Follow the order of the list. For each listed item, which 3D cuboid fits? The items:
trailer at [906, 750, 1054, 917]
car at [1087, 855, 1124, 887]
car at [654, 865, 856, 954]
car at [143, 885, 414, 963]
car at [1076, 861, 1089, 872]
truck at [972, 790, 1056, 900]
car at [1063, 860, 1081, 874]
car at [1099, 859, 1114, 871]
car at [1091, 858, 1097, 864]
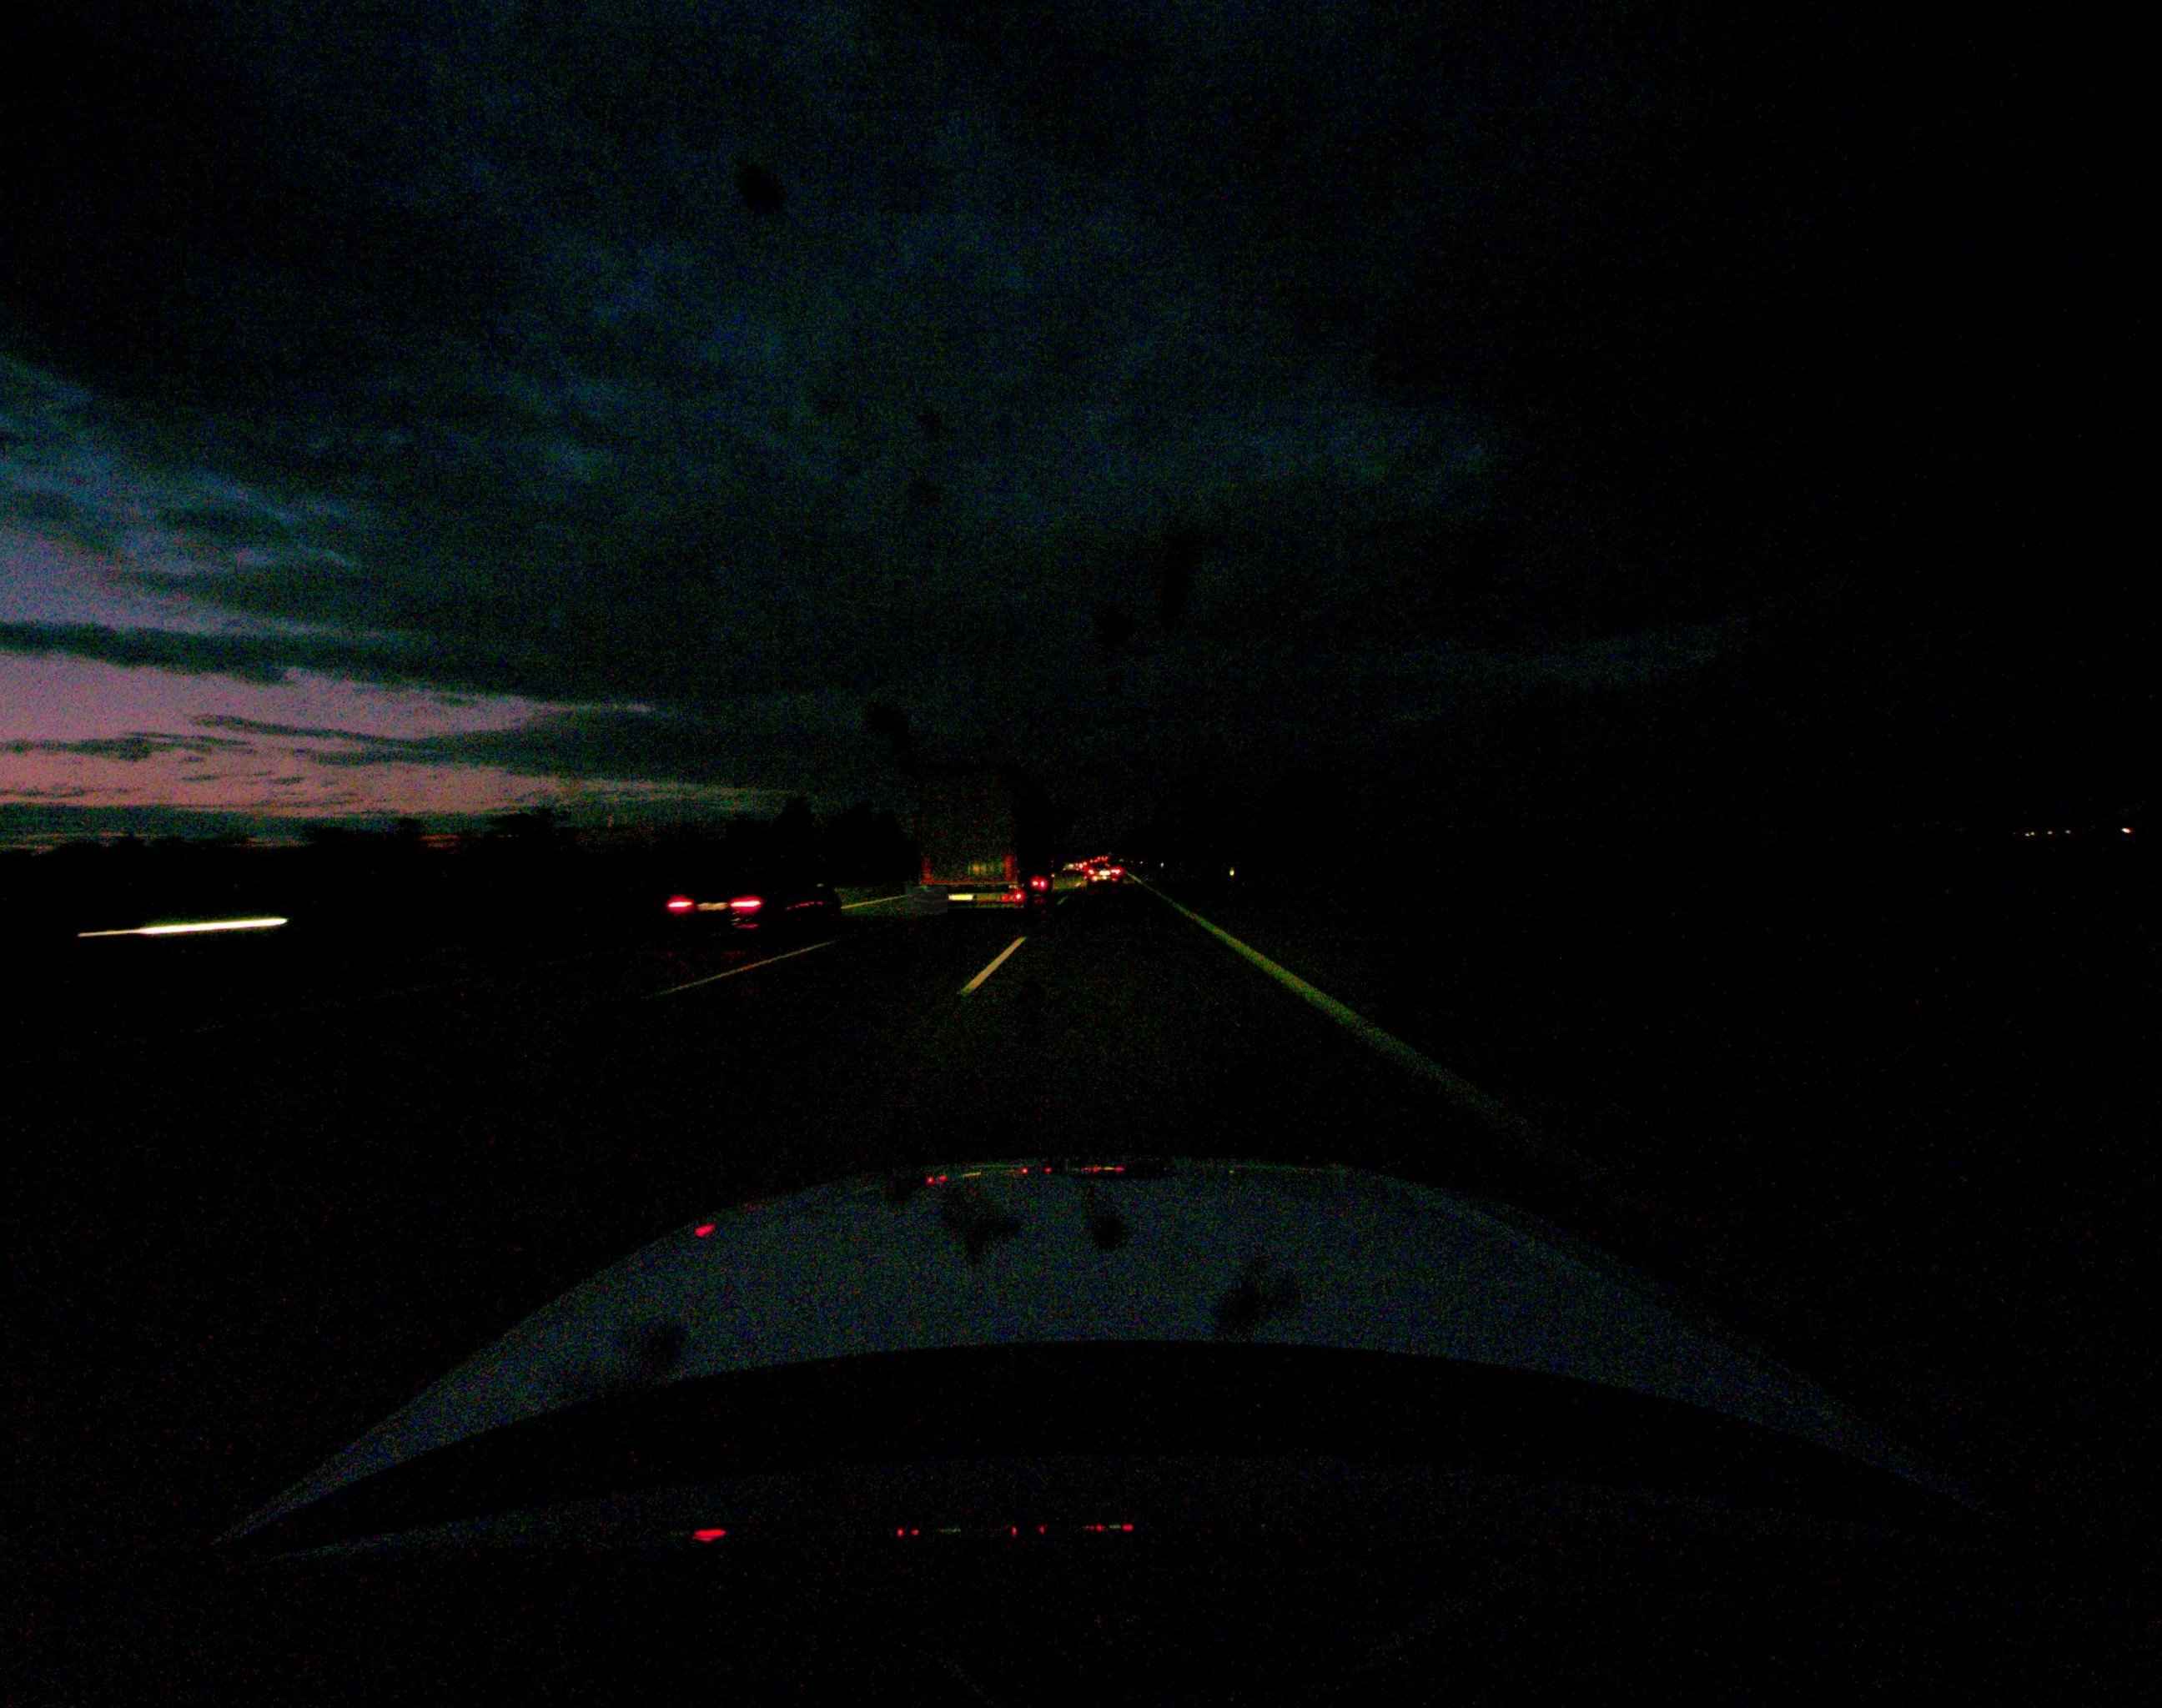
[{"bbox_3d":[-2.739,-0.396,27.459,2.784,4.085,14.528,-1,-1,1],"label":"trailer"},{"bbox_3d":[1.300,0.900,43.353,1.873,1.643,4.001,0,-1,2],"label":"car"},{"bbox_3d":[-6.298,0.984,16.582,1.807,1.437,5.396,0,0,1],"label":"car"},{"bbox_3d":[-18.338,1.528,18.991,1.737,1.499,4.522,0,-1,2],"label":"car"},{"bbox_3d":[0.221,1.660,111.947,1.716,1.471,4.727,0,-1,1],"label":"car"},{"bbox_3d":[-2.614,-0.288,33.797,2.768,4.093,6.104,-1,-1,1],"label":"truck"},{"bbox_3d":[-1.007,1.450,89.170,1.737,1.525,4.416,0,-1,2],"label":"car"},{"bbox_3d":[3.341,1.435,107.906,1.873,1.552,4.001,0,-1,1],"label":"car"},{"bbox_3d":[3.726,2.083,233.767,1.873,1.552,4.001,0,-1,1],"label":"car"}]
